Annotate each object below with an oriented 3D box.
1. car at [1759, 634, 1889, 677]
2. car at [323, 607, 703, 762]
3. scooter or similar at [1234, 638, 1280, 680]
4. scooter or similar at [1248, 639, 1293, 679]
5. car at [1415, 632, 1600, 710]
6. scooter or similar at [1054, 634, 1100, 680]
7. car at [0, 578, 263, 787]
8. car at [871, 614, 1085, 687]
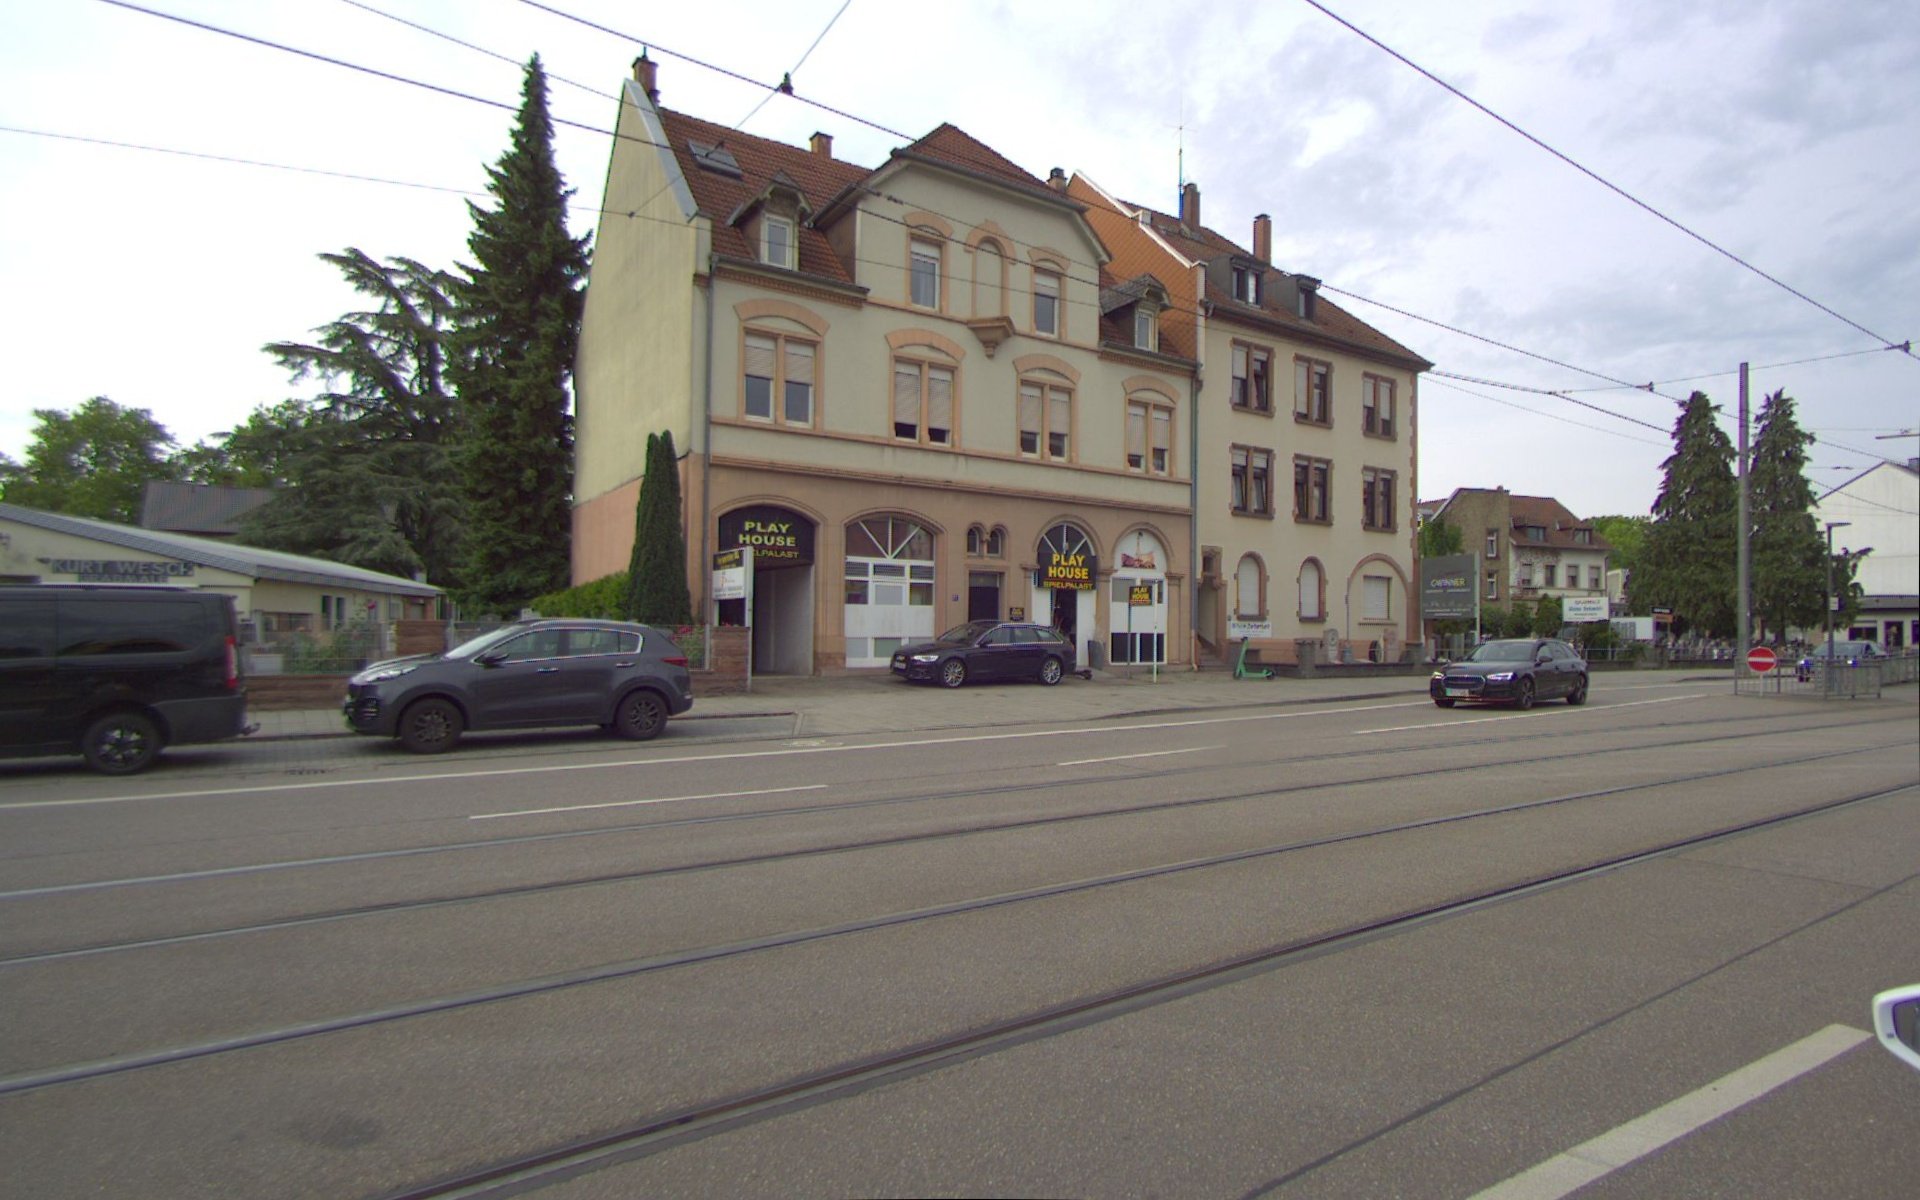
[{"bbox_3d":[30.791,1.978,35.778,4.364,1.447,1.876,1,-3,-25],"label":"car"},{"bbox_3d":[-6.089,1.024,13.915,4.492,1.773,2.022,1,0,-37],"label":"car"},{"bbox_3d":[8.393,1.662,28.397,1.156,1.116,0.527,1,-1,28],"label":"scooter or similar"},{"bbox_3d":[8.966,1.694,29.005,1.156,1.116,0.527,1,-1,28],"label":"scooter or similar"},{"bbox_3d":[11.819,1.472,21.549,4.782,1.492,1.888,2,-4,-41],"label":"car"},{"bbox_3d":[3.080,1.499,26.470,0.523,1.116,1.165,2,1,-37],"label":"scooter or similar"},{"bbox_3d":[-10.335,0.780,10.327,5.134,2.040,1.973,2,0,-35],"label":"car"},{"bbox_3d":[0.496,1.189,24.033,4.853,1.512,1.981,2,0,-34],"label":"car"}]
